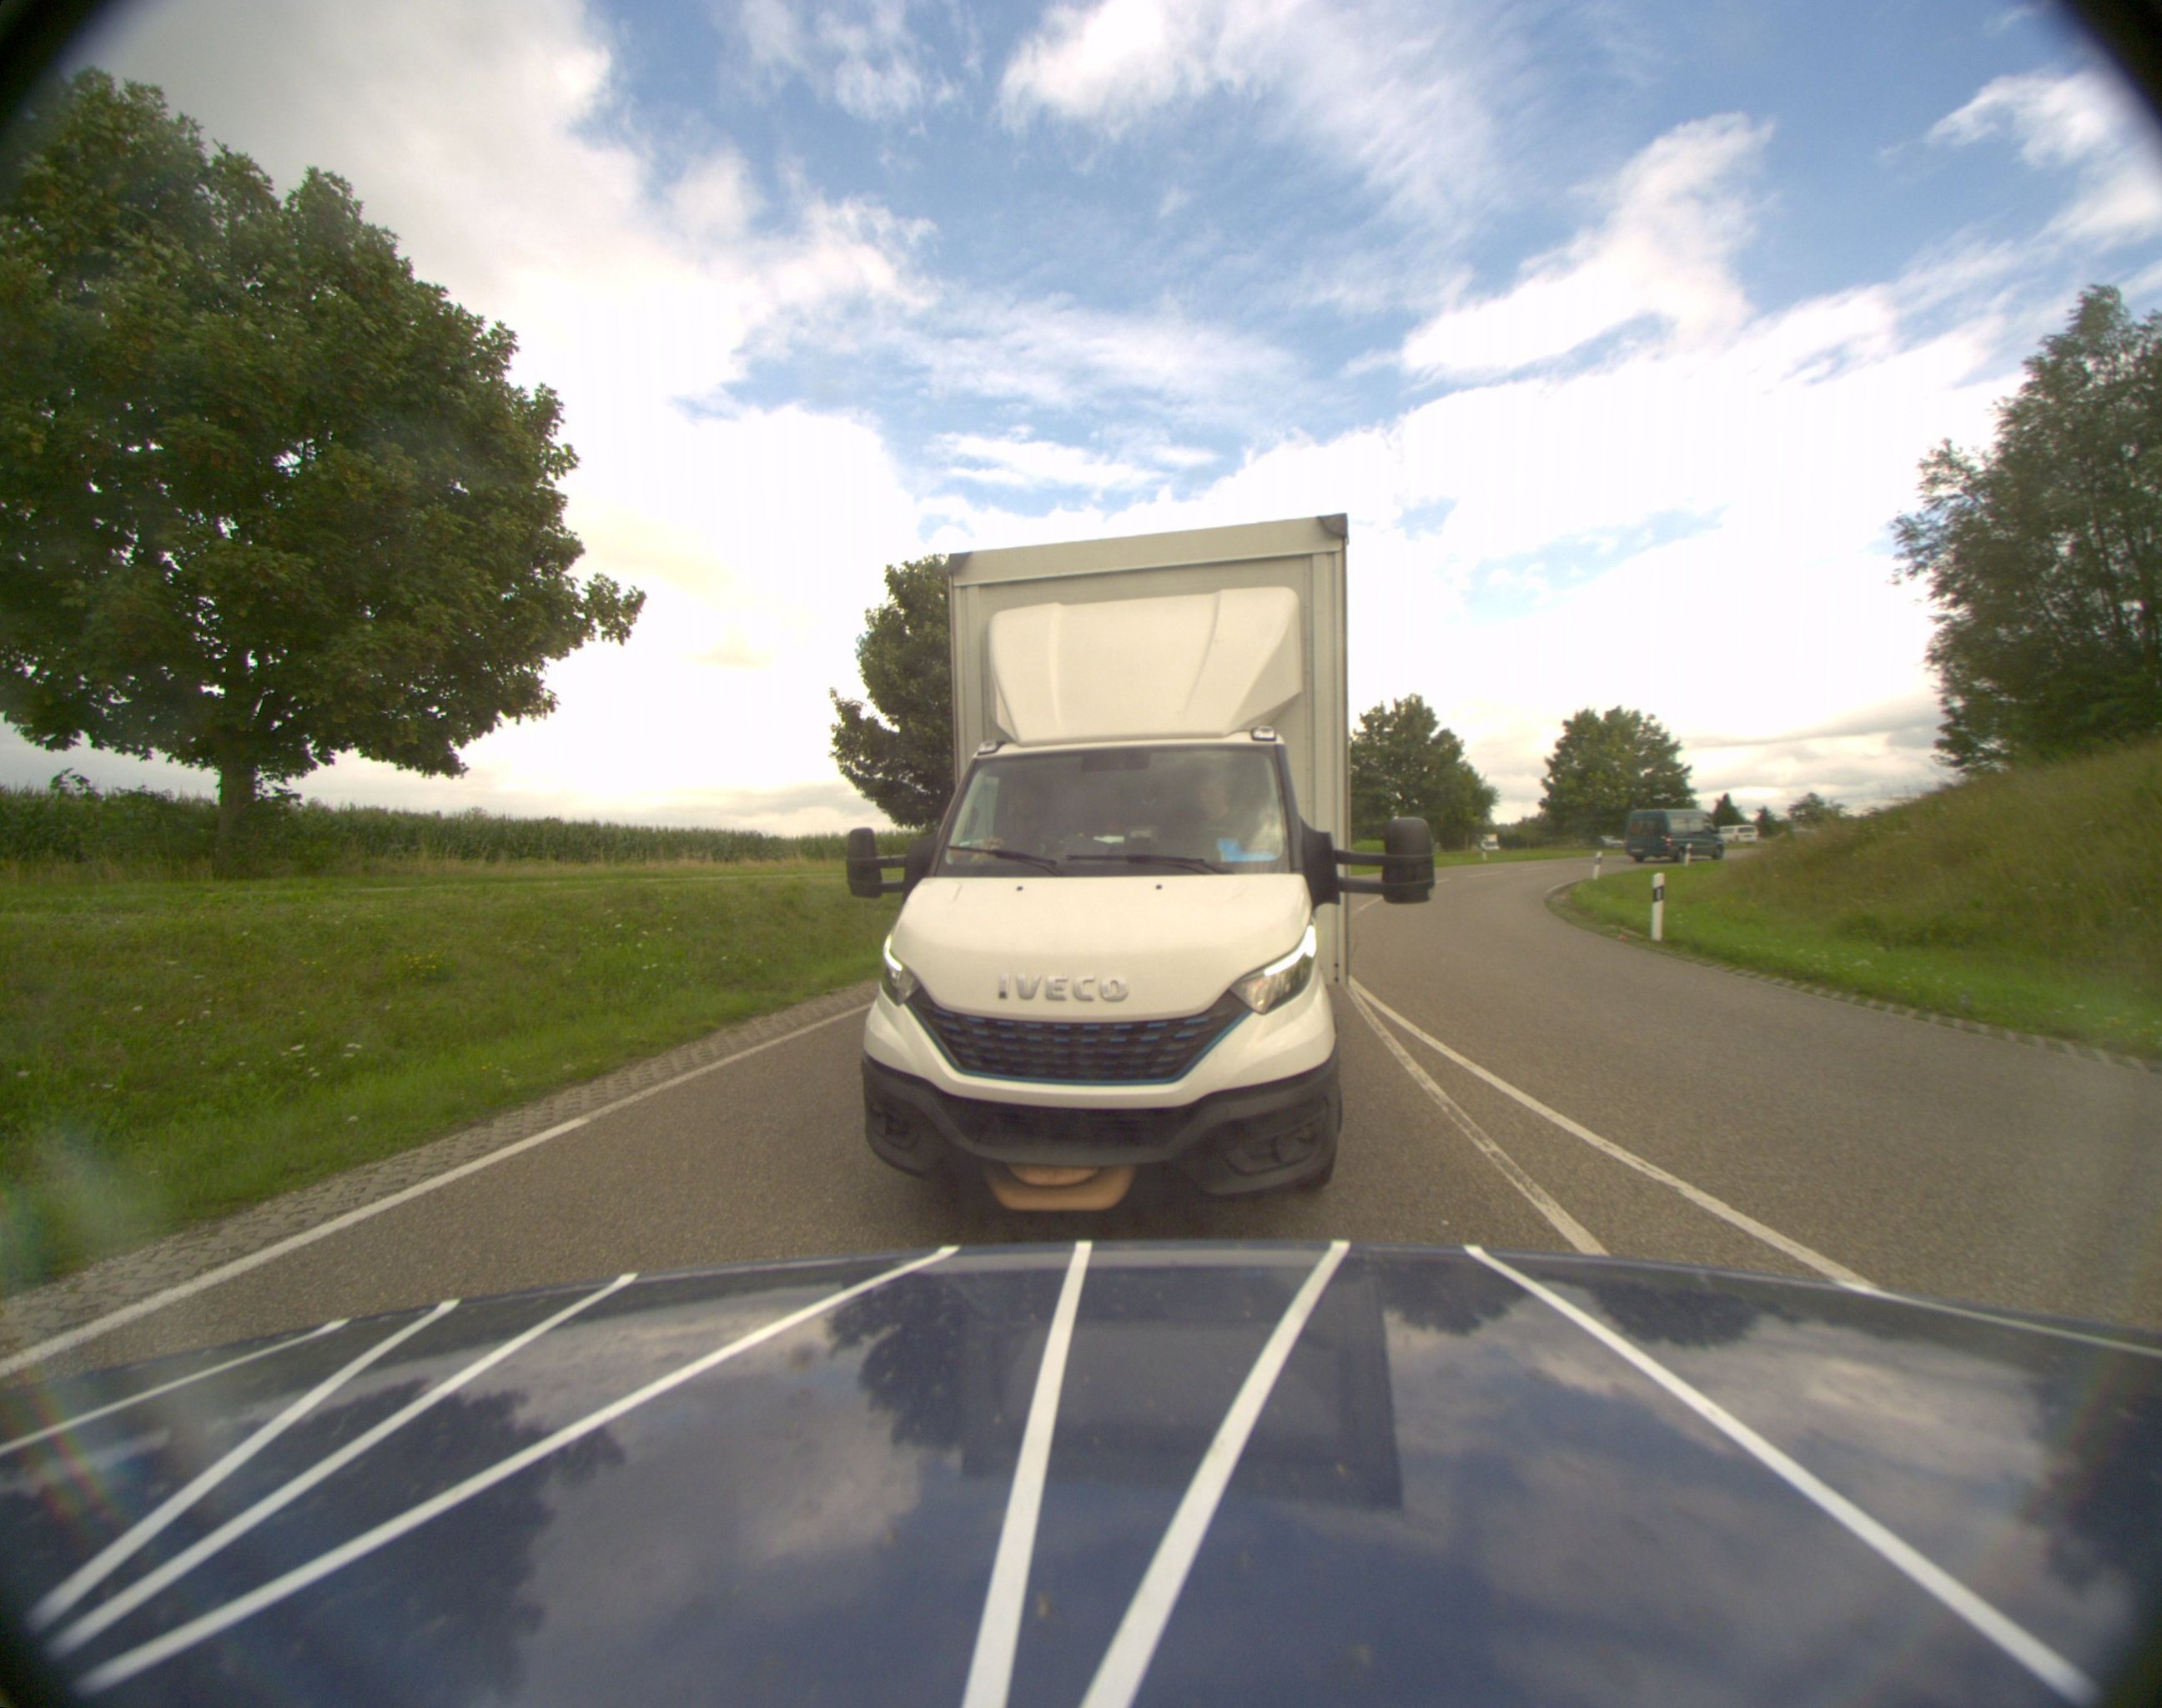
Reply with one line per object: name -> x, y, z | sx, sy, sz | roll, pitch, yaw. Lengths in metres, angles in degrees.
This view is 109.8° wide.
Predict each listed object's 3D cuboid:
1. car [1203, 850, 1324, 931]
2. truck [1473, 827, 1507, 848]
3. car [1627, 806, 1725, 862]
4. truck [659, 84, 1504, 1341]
car -> 3.976, 0.692, 16.040 | 1.747, 1.457, 4.006 | -2, 0, 24
truck -> 50.456, -2.013, 93.944 | 2.288, 2.407, 6.389 | -2, 0, 15
car -> 29.704, -0.994, 37.910 | 5.130, 2.615, 1.995 | -1, 1, -29
truck -> 0.722, -0.395, 6.856 | 2.834, 3.741, 8.807 | -1, 0, 11
